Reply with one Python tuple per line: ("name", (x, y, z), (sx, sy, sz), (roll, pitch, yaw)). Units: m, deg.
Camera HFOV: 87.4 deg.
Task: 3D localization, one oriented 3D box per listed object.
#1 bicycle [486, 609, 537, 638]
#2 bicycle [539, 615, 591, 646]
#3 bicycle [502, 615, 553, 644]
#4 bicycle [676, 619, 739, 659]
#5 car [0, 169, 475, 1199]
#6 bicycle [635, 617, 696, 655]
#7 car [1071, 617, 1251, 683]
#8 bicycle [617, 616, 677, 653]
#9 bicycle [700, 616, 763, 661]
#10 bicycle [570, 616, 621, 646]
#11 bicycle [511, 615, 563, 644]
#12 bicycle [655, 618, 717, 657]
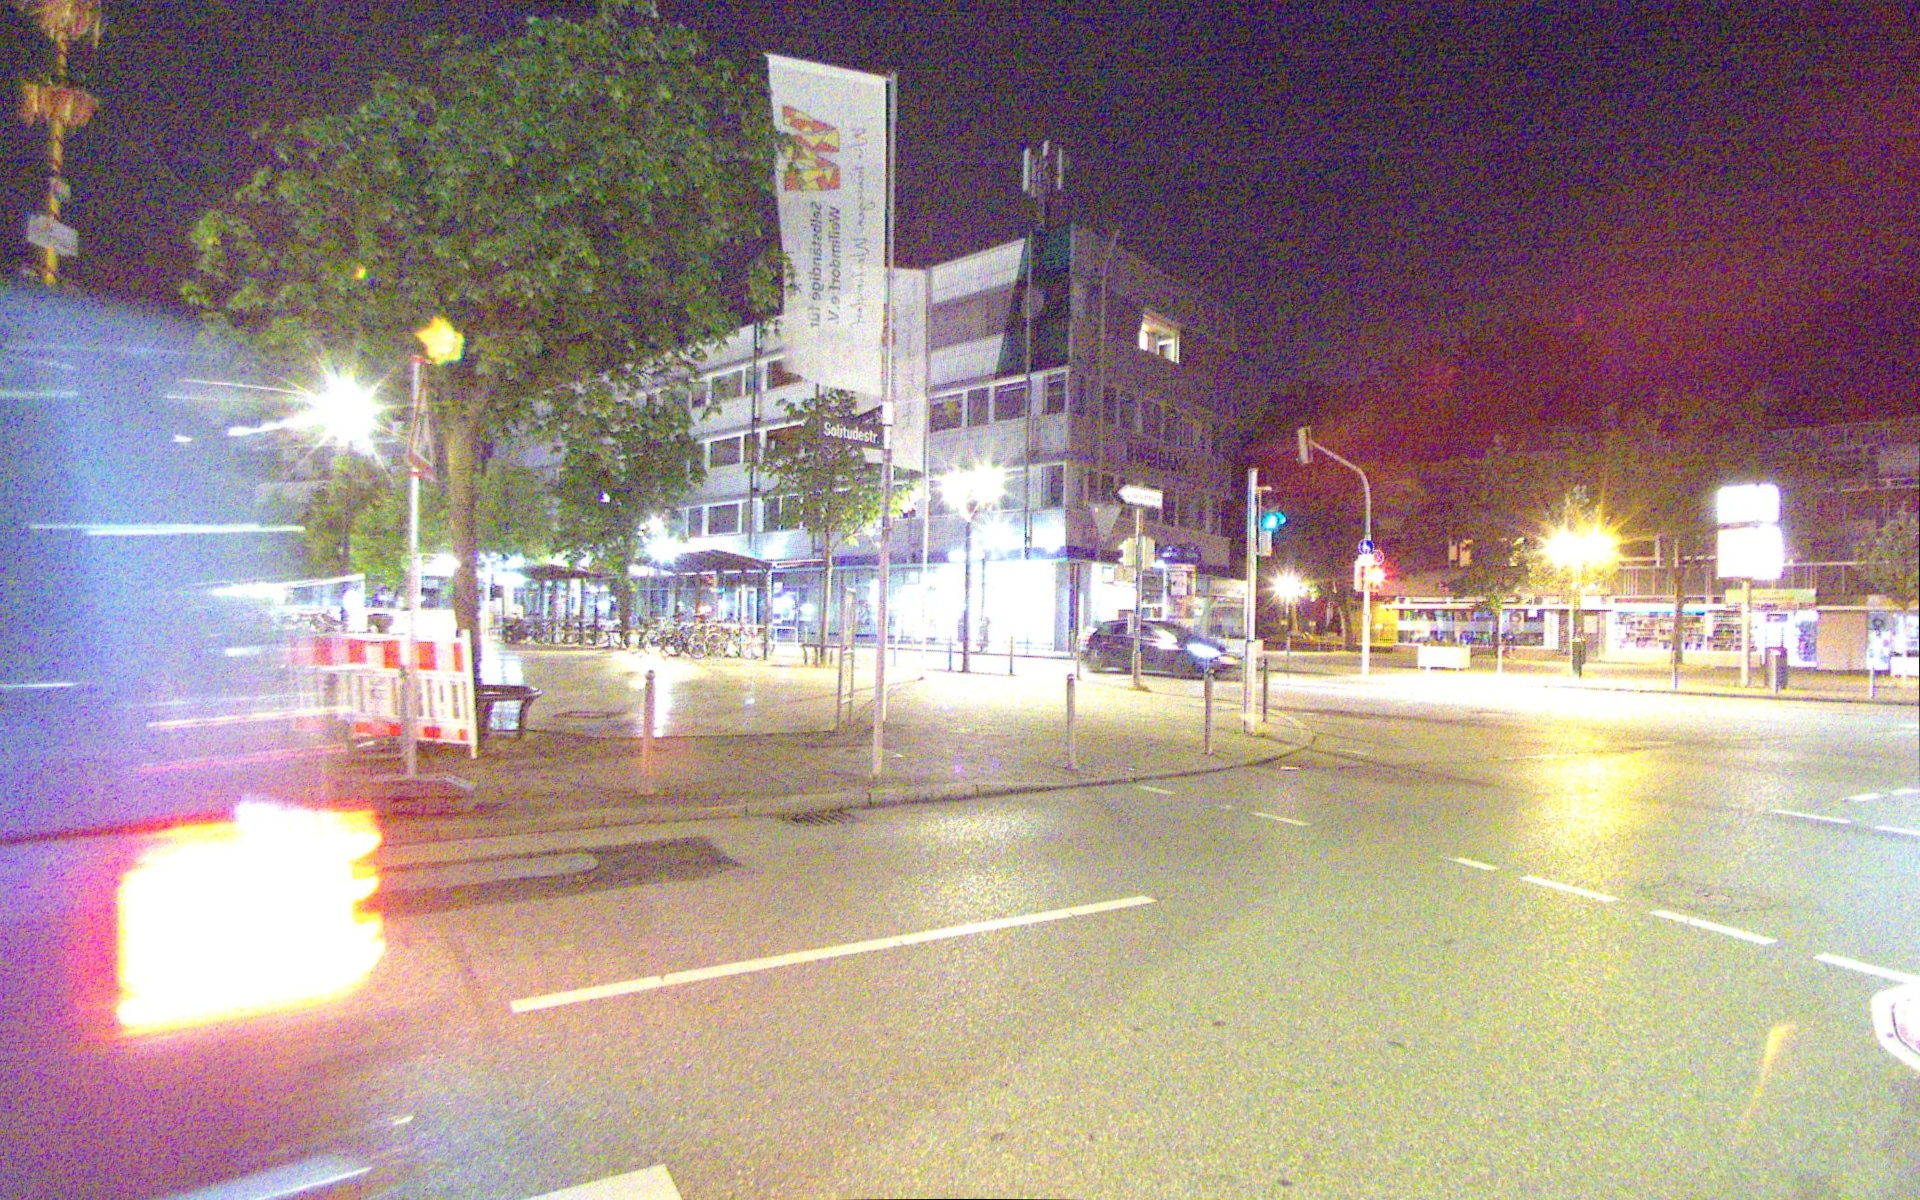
("bicycle", (-15.537, 0.833, 34.842), (0.473, 0.970, 1.525), (2, 0, 44))
("bicycle", (-13.033, 1.009, 33.204), (0.473, 0.970, 1.525), (2, 0, 44))
("bicycle", (-14.802, 1.001, 34.383), (0.473, 0.970, 1.525), (2, 0, 44))
("bicycle", (-6.404, 0.986, 25.527), (0.440, 0.970, 1.525), (2, 0, 43))
("car", (-3.313, 0.357, 0.964), (4.864, 1.896, 1.954), (2, -2, -36))
("bicycle", (-7.857, 0.962, 26.817), (0.473, 0.970, 1.525), (2, 0, 44))
("car", (5.207, 1.247, 26.328), (4.254, 1.473, 1.870), (1, 0, 42))
("bicycle", (-8.537, 0.945, 27.417), (0.473, 0.970, 1.525), (2, 0, 44))
("bicycle", (-5.657, 0.951, 24.919), (0.440, 1.068, 1.525), (2, 0, 43))
("bicycle", (-11.990, 1.026, 33.075), (0.473, 0.970, 1.525), (2, 0, 44))
("bicycle", (-14.191, 0.992, 33.732), (0.473, 0.970, 1.525), (2, 0, 44))
("bicycle", (-7.110, 0.974, 26.133), (0.473, 0.970, 1.525), (2, 0, 44))
